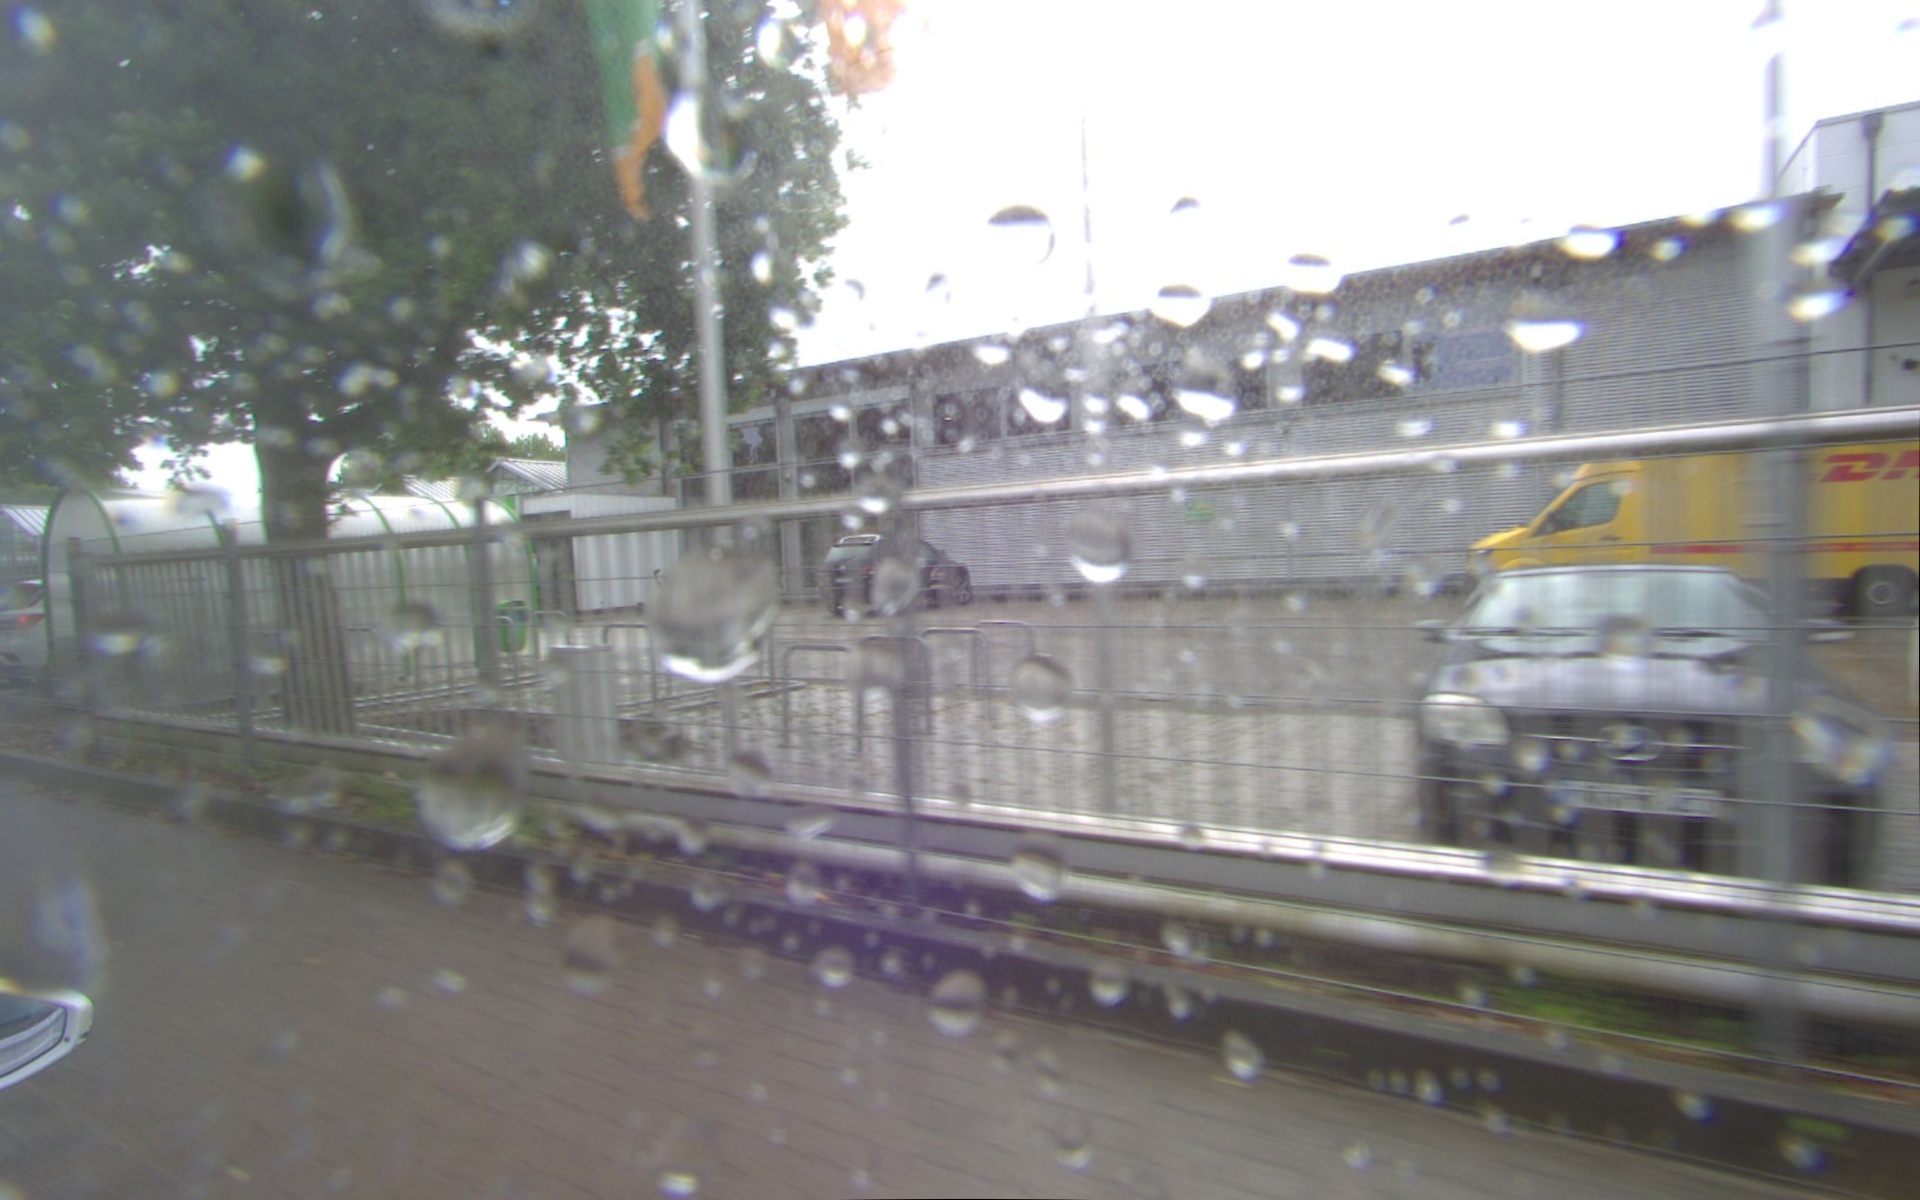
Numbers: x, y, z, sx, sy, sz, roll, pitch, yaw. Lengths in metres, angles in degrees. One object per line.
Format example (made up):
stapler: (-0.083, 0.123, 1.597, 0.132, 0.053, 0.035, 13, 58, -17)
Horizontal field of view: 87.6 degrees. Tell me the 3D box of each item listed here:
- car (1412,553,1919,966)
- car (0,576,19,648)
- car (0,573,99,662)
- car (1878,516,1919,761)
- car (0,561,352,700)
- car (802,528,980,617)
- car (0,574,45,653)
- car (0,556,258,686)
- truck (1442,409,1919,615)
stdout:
car: (3.407, 0.439, 5.165, 1.595, 1.274, 3.930, -1, 2, 30)
car: (-23.547, 0.396, 21.670, 1.794, 1.641, 4.205, -1, 3, 24)
car: (-19.397, 0.404, 18.982, 1.794, 1.641, 4.205, -1, 3, 24)
car: (5.842, 0.303, 4.233, 1.862, 1.483, 4.693, -1, 3, 30)
car: (-11.772, 0.327, 14.932, 1.797, 1.623, 4.198, 0, 4, 30)
car: (-1.527, -0.724, 24.003, 2.034, 1.859, 4.349, 0, 4, 32)
car: (-21.828, 0.395, 20.432, 1.794, 1.641, 4.205, -1, 3, 24)
car: (-14.260, 0.263, 16.310, 1.794, 1.819, 4.205, -1, 3, 24)
truck: (11.562, -1.229, 15.299, 7.315, 2.697, 2.292, 0, 5, 35)
